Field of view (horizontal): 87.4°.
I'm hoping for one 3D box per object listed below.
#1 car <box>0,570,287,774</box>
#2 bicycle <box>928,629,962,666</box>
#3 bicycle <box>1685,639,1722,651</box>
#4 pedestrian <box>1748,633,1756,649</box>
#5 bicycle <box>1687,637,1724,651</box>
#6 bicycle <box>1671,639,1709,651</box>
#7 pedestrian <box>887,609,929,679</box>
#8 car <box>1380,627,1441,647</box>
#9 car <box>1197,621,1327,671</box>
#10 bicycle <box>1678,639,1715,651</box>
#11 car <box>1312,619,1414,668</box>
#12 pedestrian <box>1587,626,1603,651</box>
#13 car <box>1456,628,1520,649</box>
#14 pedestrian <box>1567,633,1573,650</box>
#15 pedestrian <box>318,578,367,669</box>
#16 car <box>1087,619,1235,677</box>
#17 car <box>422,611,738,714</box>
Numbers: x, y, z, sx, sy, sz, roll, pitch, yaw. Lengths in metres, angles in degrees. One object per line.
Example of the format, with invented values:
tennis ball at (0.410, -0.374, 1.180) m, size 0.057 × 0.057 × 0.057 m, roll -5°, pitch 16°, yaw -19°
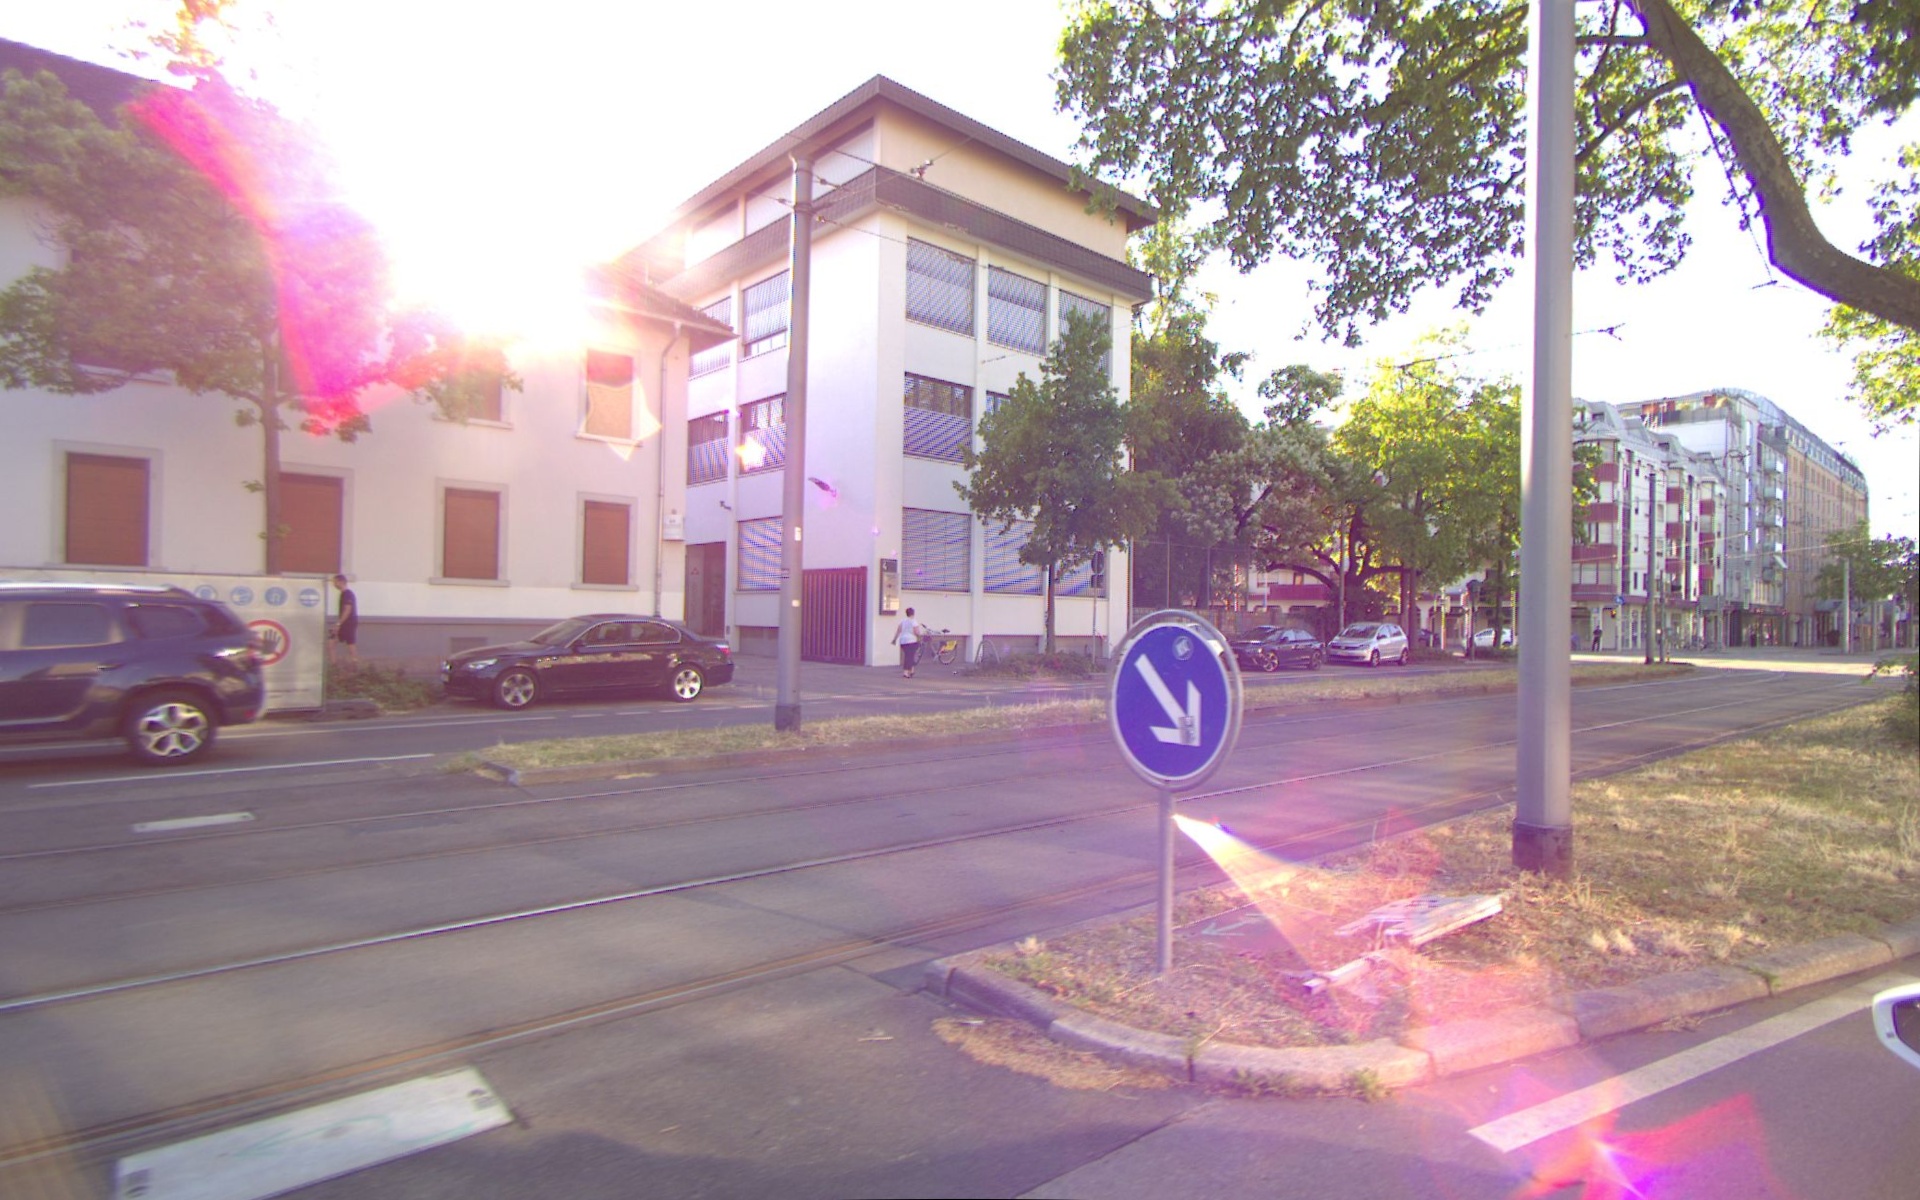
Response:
car at (-8.818, 0.607, 9.088) m, size 4.279 × 1.711 × 1.975 m, roll 2°, pitch -1°, yaw -43°
bicycle at (-0.421, 1.348, 28.713) m, size 1.011 × 1.016 × 0.300 m, roll 2°, pitch -1°, yaw -43°
bicycle at (55.036, 3.306, 74.336) m, size 0.524 × 0.835 × 2.149 m, roll 2°, pitch -1°, yaw -43°
pedestrian at (76.096, 3.916, 96.561) m, size 0.524 × 1.478 × 0.506 m, roll 1°, pitch -1°, yaw -40°
bicycle at (55.488, 3.268, 74.791) m, size 0.488 × 0.963 × 2.149 m, roll 2°, pitch -1°, yaw -43°
bicycle at (53.206, 3.280, 73.251) m, size 0.636 × 0.797 × 2.149 m, roll 2°, pitch -2°, yaw -43°
pedestrian at (-1.244, 1.043, 24.069) m, size 0.726 × 1.642 × 0.629 m, roll 2°, pitch 0°, yaw -43°
car at (34.316, 2.810, 76.537) m, size 3.937 × 1.483 × 1.795 m, roll -1°, pitch -2°, yaw 38°
car at (9.779, 1.439, 32.299) m, size 4.617 × 1.495 × 1.975 m, roll 2°, pitch -1°, yaw -43°
bicycle at (53.935, 3.290, 73.554) m, size 0.488 × 0.797 × 2.149 m, roll 2°, pitch -1°, yaw -43°
car at (15.008, 1.594, 37.328) m, size 4.148 × 1.711 × 1.975 m, roll 2°, pitch -1°, yaw -43°
pedestrian at (43.084, 2.590, 68.151) m, size 0.701 × 1.684 × 1.027 m, roll -1°, pitch -2°, yaw 45°
car at (38.467, 2.820, 73.203) m, size 3.938 × 1.483 × 1.794 m, roll -1°, pitch -2°, yaw 38°
pedestrian at (42.912, 2.916, 70.640) m, size 0.300 × 1.230 × 0.316 m, roll -1°, pitch -2°, yaw 44°
pedestrian at (-11.076, 0.417, 18.024) m, size 0.635 × 1.591 × 0.588 m, roll 1°, pitch -1°, yaw -43°
car at (5.810, 1.330, 28.730) m, size 4.374 × 1.490 × 1.975 m, roll 2°, pitch -1°, yaw -43°
car at (-6.387, 0.986, 17.248) m, size 4.690 × 1.534 × 1.975 m, roll 2°, pitch -1°, yaw -42°
